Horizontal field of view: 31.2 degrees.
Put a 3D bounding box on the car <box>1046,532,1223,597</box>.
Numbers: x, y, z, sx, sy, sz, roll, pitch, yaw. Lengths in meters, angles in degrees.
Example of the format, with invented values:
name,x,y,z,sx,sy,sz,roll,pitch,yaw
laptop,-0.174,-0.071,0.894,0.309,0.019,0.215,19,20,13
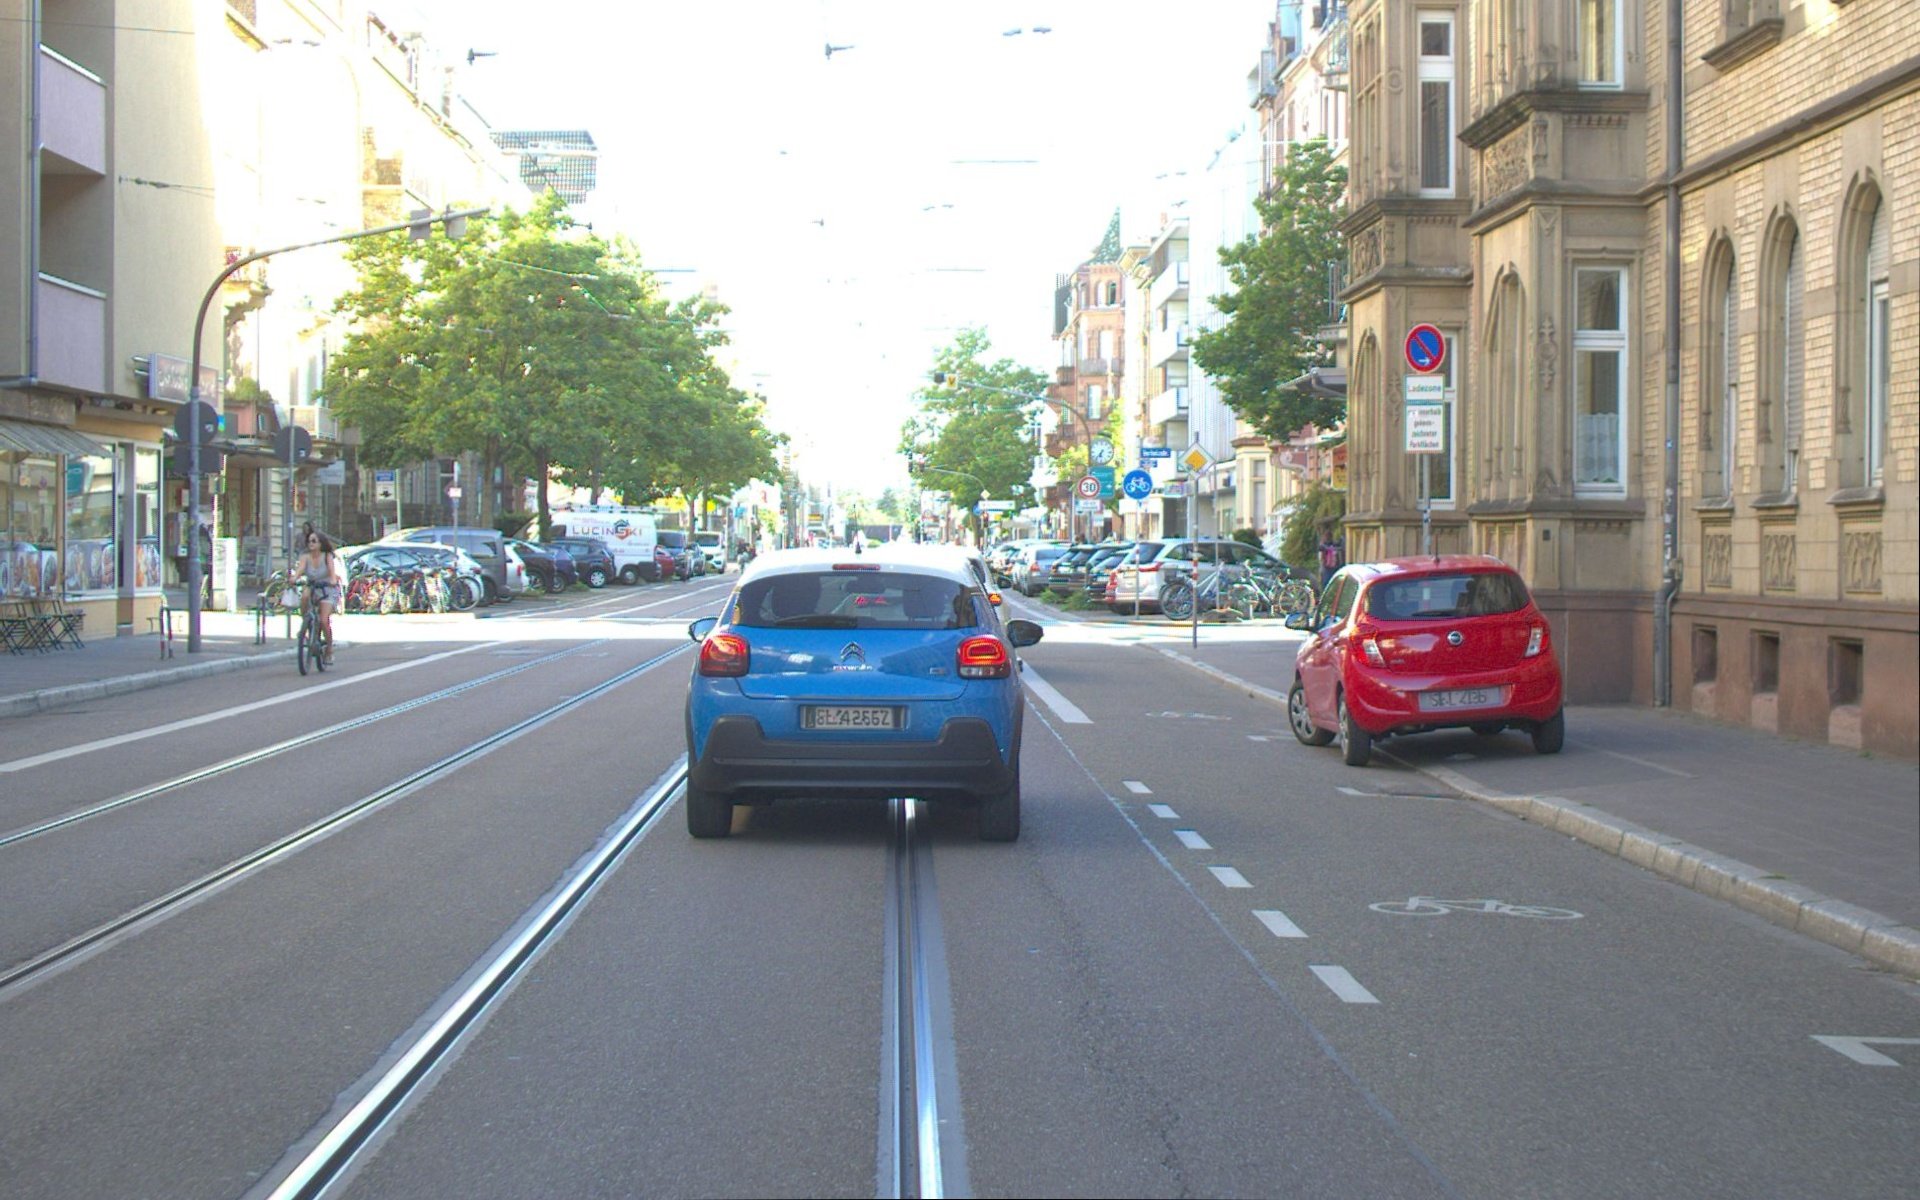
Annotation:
name,x,y,z,sx,sy,sz,roll,pitch,yaw
car,4.454,-0.912,87.939,3.986,1.590,2.088,1,1,-25

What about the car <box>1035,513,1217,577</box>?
name,x,y,z,sx,sy,sz,roll,pitch,yaw
car,4.358,-1.436,90.267,4.302,1.590,1.983,1,1,-25

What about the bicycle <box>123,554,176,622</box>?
name,x,y,z,sx,sy,sz,roll,pitch,yaw
bicycle,-14.630,-0.225,62.099,0.681,1.105,2.436,1,3,-7

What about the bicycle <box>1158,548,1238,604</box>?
name,x,y,z,sx,sy,sz,roll,pitch,yaw
bicycle,4.730,-0.475,68.254,1.556,1.075,0.307,1,0,6

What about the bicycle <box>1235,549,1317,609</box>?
name,x,y,z,sx,sy,sz,roll,pitch,yaw
bicycle,6.082,-0.398,66.191,1.556,1.123,0.551,1,1,6

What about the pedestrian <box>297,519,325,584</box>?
name,x,y,z,sx,sy,sz,roll,pitch,yaw
pedestrian,-16.525,-1.232,87.535,0.569,1.647,0.641,1,0,-1

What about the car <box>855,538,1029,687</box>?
name,x,y,z,sx,sy,sz,roll,pitch,yaw
car,-0.217,0.114,39.667,1.873,1.590,4.000,1,1,-1

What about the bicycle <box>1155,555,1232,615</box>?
name,x,y,z,sx,sy,sz,roll,pitch,yaw
bicycle,4.522,-0.292,66.569,1.397,1.123,0.551,1,1,-5

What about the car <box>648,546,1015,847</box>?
name,x,y,z,sx,sy,sz,roll,pitch,yaw
car,-0.666,0.448,18.525,1.762,1.436,3.557,1,1,-1

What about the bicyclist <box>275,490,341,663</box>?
name,x,y,z,sx,sy,sz,roll,pitch,yaw
bicyclist,-7.700,-0.278,40.624,0.612,2.007,0.734,1,0,0

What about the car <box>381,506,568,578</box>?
name,x,y,z,sx,sy,sz,roll,pitch,yaw
car,-12.595,-1.502,89.281,4.353,1.777,1.996,1,1,-33

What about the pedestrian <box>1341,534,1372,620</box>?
name,x,y,z,sx,sy,sz,roll,pitch,yaw
pedestrian,8.303,-0.489,72.003,0.518,1.772,0.864,1,1,-1

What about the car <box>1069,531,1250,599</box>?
name,x,y,z,sx,sy,sz,roll,pitch,yaw
car,4.932,-0.867,84.898,3.986,1.590,1.960,1,1,-25

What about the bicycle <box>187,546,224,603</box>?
name,x,y,z,sx,sy,sz,roll,pitch,yaw
bicycle,-14.715,-0.500,67.055,0.403,1.106,1.838,0,1,-22

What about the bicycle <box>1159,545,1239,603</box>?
name,x,y,z,sx,sy,sz,roll,pitch,yaw
bicycle,4.768,-0.518,68.592,1.560,1.123,0.294,1,0,6

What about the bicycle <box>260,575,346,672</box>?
name,x,y,z,sx,sy,sz,roll,pitch,yaw
bicycle,-7.718,0.260,40.472,0.602,1.092,2.044,-2,1,0

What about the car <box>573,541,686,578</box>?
name,x,y,z,sx,sy,sz,roll,pitch,yaw
car,-12.079,-1.483,125.788,3.796,1.261,1.516,1,1,-26

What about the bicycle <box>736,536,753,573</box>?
name,x,y,z,sx,sy,sz,roll,pitch,yaw
bicycle,-9.900,-2.090,158.075,0.680,1.673,2.097,1,1,-1

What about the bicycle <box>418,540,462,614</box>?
name,x,y,z,sx,sy,sz,roll,pitch,yaw
bicycle,-10.173,-0.460,67.310,0.681,1.315,2.436,1,3,-5

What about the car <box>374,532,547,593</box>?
name,x,y,z,sx,sy,sz,roll,pitch,yaw
car,-12.285,-0.920,84.540,3.831,1.425,1.766,1,1,-26

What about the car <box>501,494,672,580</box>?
name,x,y,z,sx,sy,sz,roll,pitch,yaw
car,-12.481,-2.097,115.065,5.370,2.739,1.806,1,1,-30

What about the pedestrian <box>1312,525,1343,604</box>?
name,x,y,z,sx,sy,sz,roll,pitch,yaw
pedestrian,7.691,-0.746,71.913,0.518,1.643,0.864,1,1,-1

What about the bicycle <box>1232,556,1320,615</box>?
name,x,y,z,sx,sy,sz,roll,pitch,yaw
bicycle,6.201,-0.293,67.441,1.675,1.123,0.551,1,1,6

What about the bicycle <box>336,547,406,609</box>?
name,x,y,z,sx,sy,sz,roll,pitch,yaw
bicycle,-11.518,-0.434,67.201,0.681,1.119,1.888,-1,4,-32

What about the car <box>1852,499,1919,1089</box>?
name,x,y,z,sx,sy,sz,roll,pitch,yaw
car,3.759,0.577,7.993,1.865,1.641,4.402,1,1,-5

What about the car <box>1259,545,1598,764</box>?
name,x,y,z,sx,sy,sz,roll,pitch,yaw
car,3.516,0.359,26.578,1.865,1.477,4.401,-3,1,-1

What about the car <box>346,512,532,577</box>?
name,x,y,z,sx,sy,sz,roll,pitch,yaw
car,-12.328,-1.314,81.433,4.006,1.444,1.699,1,1,-33

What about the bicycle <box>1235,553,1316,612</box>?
name,x,y,z,sx,sy,sz,roll,pitch,yaw
bicycle,6.130,-0.338,66.766,1.556,1.123,0.528,1,1,6

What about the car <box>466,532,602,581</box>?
name,x,y,z,sx,sy,sz,roll,pitch,yaw
car,-13.506,-1.375,109.002,3.986,1.484,1.807,1,1,-17

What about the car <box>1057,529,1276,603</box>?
name,x,y,z,sx,sy,sz,roll,pitch,yaw
car,4.664,-0.765,77.635,4.433,1.590,2.089,1,1,-25

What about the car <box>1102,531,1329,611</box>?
name,x,y,z,sx,sy,sz,roll,pitch,yaw
car,5.345,-0.606,71.916,4.350,1.590,1.854,1,1,-25

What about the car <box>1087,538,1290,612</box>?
name,x,y,z,sx,sy,sz,roll,pitch,yaw
car,4.993,-0.554,75.147,3.986,1.531,1.919,1,1,-25

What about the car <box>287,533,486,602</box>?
name,x,y,z,sx,sy,sz,roll,pitch,yaw
car,-12.196,-0.696,73.188,3.779,1.395,1.755,1,1,-33

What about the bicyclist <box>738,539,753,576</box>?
name,x,y,z,sx,sy,sz,roll,pitch,yaw
bicyclist,-9.878,-1.970,158.099,0.634,1.675,0.727,1,0,-1

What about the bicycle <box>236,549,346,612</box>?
name,x,y,z,sx,sy,sz,roll,pitch,yaw
bicycle,-12.960,-0.383,66.567,2.433,1.105,0.682,4,4,39

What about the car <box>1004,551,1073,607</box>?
name,x,y,z,sx,sy,sz,roll,pitch,yaw
car,2.319,-0.647,102.662,1.873,1.590,4.719,1,1,-1
